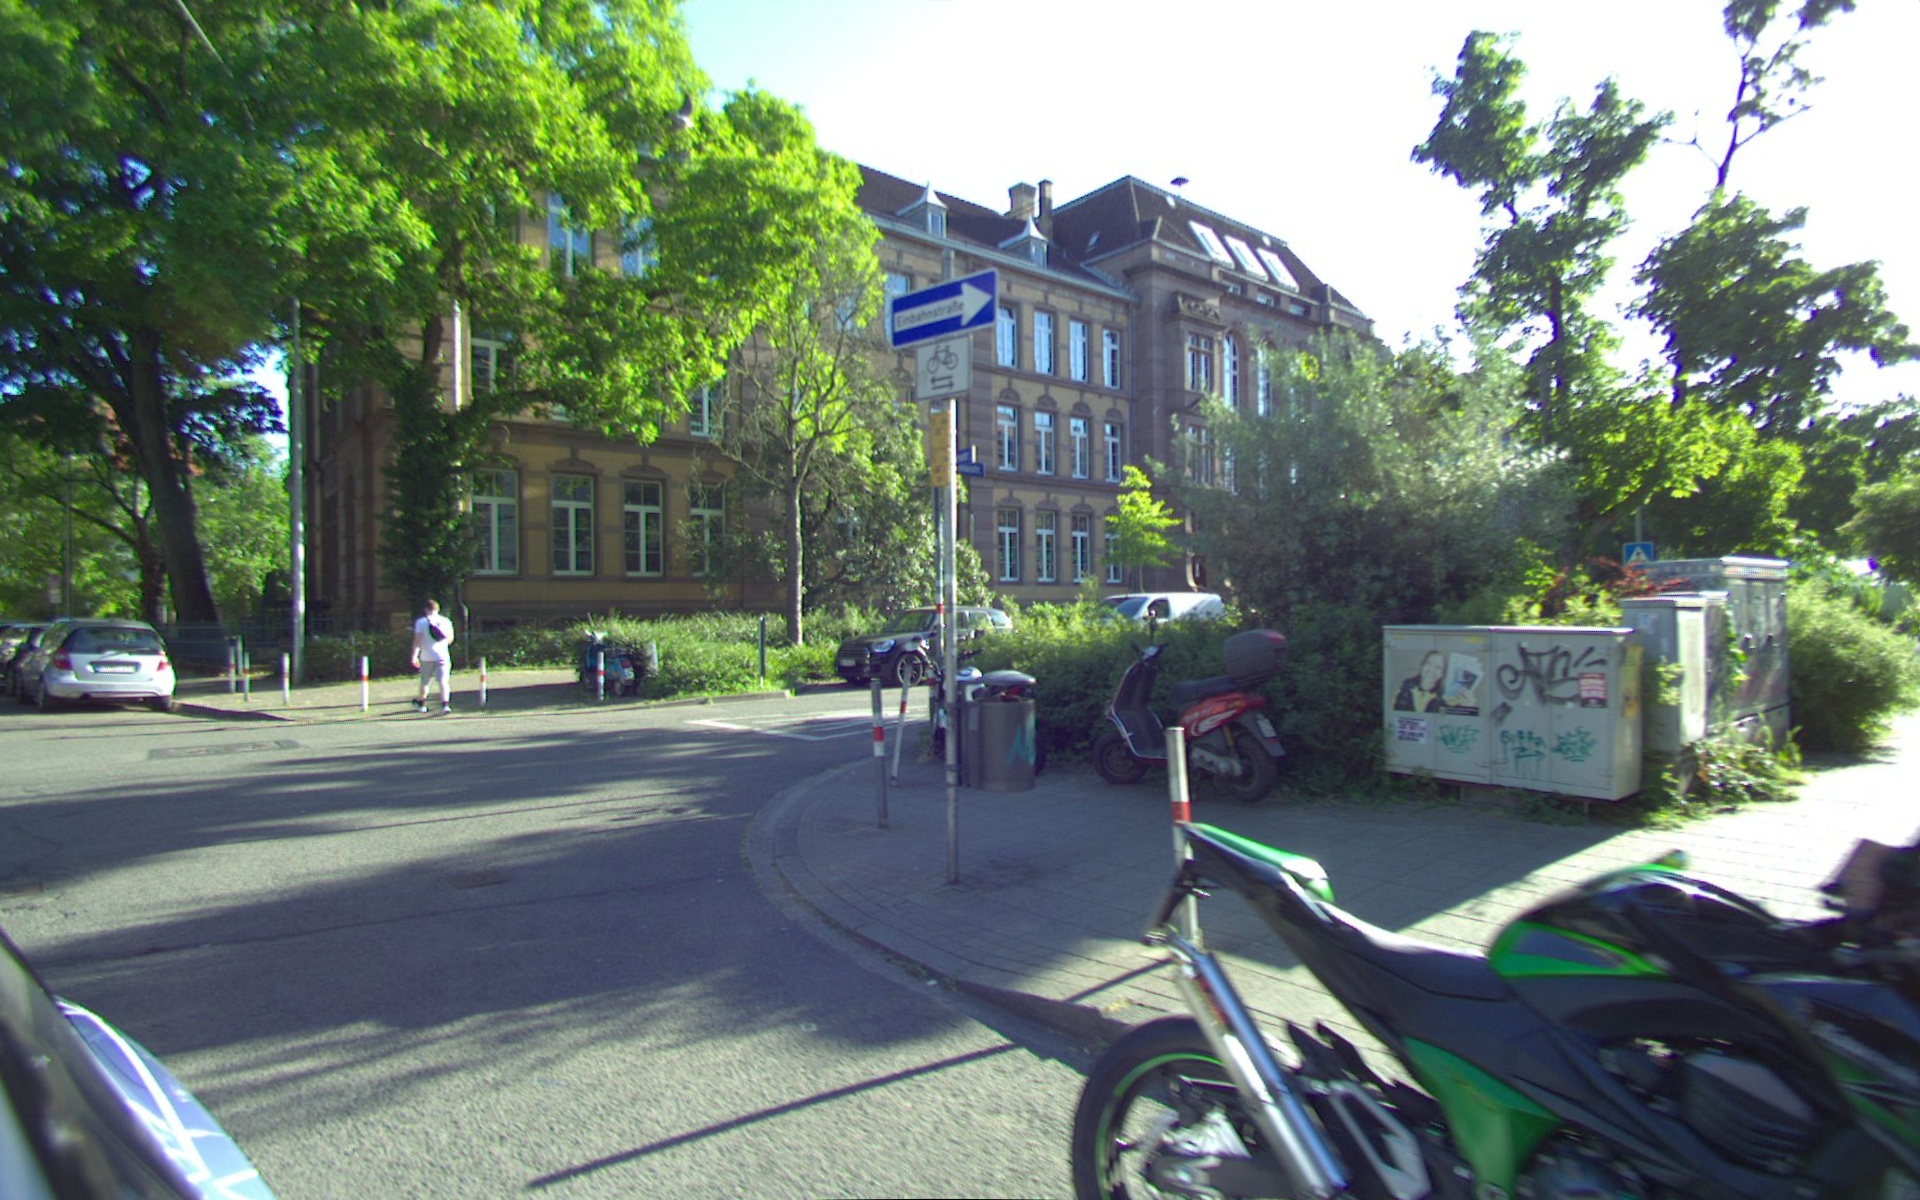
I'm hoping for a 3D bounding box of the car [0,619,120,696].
[{"bbox_3d":[-19.491,1.171,21.380,3.990,1.475,1.568,0,-4,34],"label":"car"}]

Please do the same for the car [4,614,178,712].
[{"bbox_3d":[-15.556,1.075,18.049,3.949,1.570,1.688,-1,-4,40],"label":"car"}]

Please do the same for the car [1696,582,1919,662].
[{"bbox_3d":[23.571,0.607,27.920,1.968,2.029,4.918,0,-1,-39],"label":"car"}]

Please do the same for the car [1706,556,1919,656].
[{"bbox_3d":[25.340,0.211,29.916,2.103,2.726,4.915,1,-2,-42],"label":"car"}]

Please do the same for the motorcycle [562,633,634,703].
[{"bbox_3d":[-6.214,1.135,17.309,0.536,1.110,1.898,0,-1,-40],"label":"motorcycle"}]

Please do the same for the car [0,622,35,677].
[{"bbox_3d":[-27.189,1.362,28.249,3.308,1.475,1.604,-2,-3,41],"label":"car"}]

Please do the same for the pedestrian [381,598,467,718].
[{"bbox_3d":[-8.160,0.857,15.403,1.004,1.759,0.796,-2,-1,35],"label":"pedestrian"}]

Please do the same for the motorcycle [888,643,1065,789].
[{"bbox_3d":[0.098,0.977,9.101,0.630,1.098,1.875,0,0,-34],"label":"motorcycle"}]

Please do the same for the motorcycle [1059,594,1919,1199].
[{"bbox_3d":[1.202,0.686,1.699,1.995,1.344,0.671,-2,-4,34],"label":"motorcycle"}]

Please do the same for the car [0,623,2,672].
[{"bbox_3d":[-30.982,1.459,31.195,3.842,1.475,1.709,-2,-3,41],"label":"car"}]

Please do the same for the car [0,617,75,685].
[{"bbox_3d":[-23.179,1.235,24.652,3.996,1.545,1.770,-2,-4,39],"label":"car"}]

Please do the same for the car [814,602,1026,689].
[{"bbox_3d":[-0.753,0.854,20.673,4.082,1.587,1.887,0,-1,-43],"label":"car"}]

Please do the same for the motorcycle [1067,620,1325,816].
[{"bbox_3d":[1.642,0.768,7.445,0.603,1.205,2.050,0,0,-30],"label":"motorcycle"}]
